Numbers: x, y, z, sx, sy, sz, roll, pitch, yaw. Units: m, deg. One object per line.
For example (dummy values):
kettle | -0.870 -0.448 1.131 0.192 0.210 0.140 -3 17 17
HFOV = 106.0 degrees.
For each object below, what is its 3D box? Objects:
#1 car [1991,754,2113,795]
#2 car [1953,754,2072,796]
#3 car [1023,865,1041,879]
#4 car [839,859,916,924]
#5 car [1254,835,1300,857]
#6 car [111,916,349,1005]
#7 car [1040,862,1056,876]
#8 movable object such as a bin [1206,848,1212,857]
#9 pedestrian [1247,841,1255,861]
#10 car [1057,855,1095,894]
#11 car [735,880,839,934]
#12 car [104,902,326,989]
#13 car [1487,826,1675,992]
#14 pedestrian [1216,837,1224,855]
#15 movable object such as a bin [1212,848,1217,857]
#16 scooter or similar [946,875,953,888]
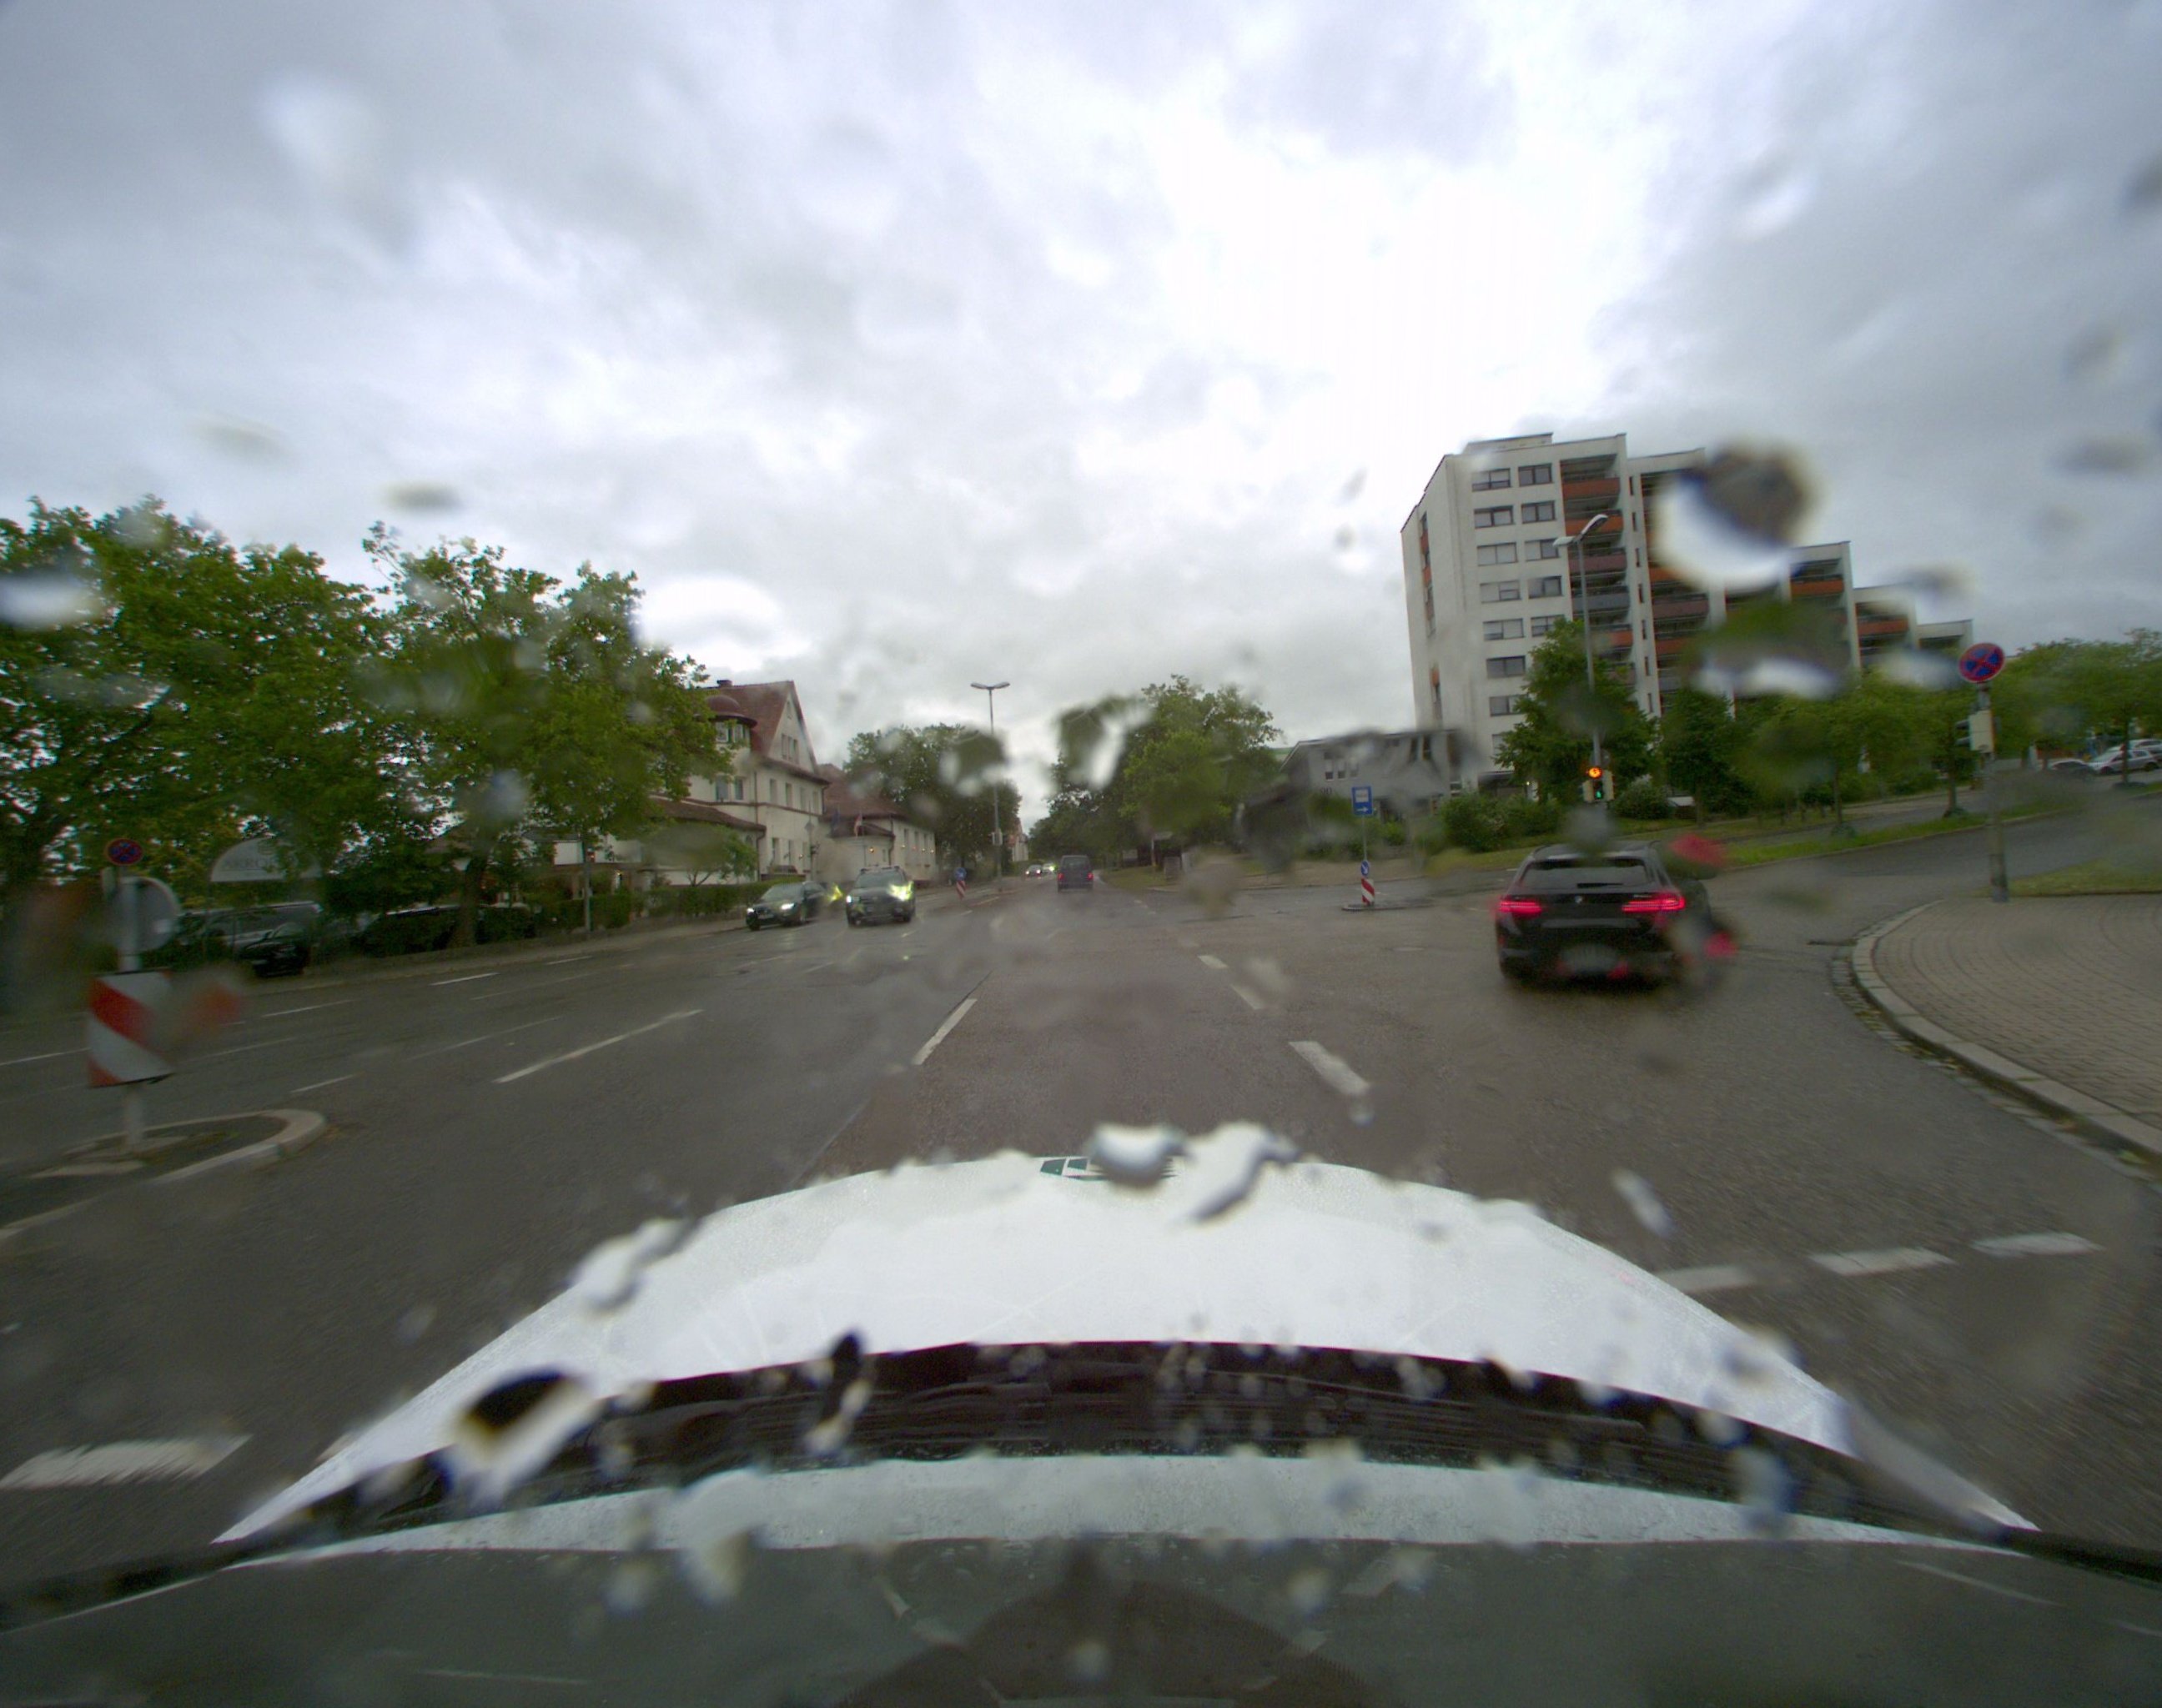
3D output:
car | 59.622 -4.850 50.110 1.996 2.014 4.346 -1 -1 -13
car | 56.775 -4.775 49.769 1.996 2.014 4.346 -1 -1 -13
car | -5.842 2.146 97.123 1.787 1.527 4.209 -3 0 1
car | -5.841 1.008 23.807 1.900 1.577 4.484 -3 0 -12
car | 17.823 -0.685 74.295 3.962 1.816 2.006 -2 -1 10
car | -21.763 2.644 21.105 1.802 1.551 4.002 -2 3 1
car | -4.555 2.078 113.344 1.824 1.671 4.051 -3 0 1
movable object such as a bin | 12.347 -0.145 78.345 0.446 0.906 0.465 -2 -1 18
pedestrian | 13.932 -0.263 66.634 0.597 1.617 0.527 -2 -1 9
car | -0.242 1.009 40.959 1.807 1.809 3.755 -2 -1 0
car | -9.988 1.741 28.046 1.902 1.427 4.414 -3 0 0
car | -24.117 2.469 22.942 1.802 1.762 4.002 -2 3 1
car | 5.775 0.528 9.411 1.509 1.534 3.554 -2 -1 33
pedestrian | 14.044 -0.839 82.388 0.555 1.763 0.727 -2 -1 -2
movable object such as a bin | 12.807 -0.160 78.190 0.446 0.906 0.465 -2 -1 18
scooter or similar | -11.110 2.339 68.732 0.388 1.064 1.409 -2 -1 -1
